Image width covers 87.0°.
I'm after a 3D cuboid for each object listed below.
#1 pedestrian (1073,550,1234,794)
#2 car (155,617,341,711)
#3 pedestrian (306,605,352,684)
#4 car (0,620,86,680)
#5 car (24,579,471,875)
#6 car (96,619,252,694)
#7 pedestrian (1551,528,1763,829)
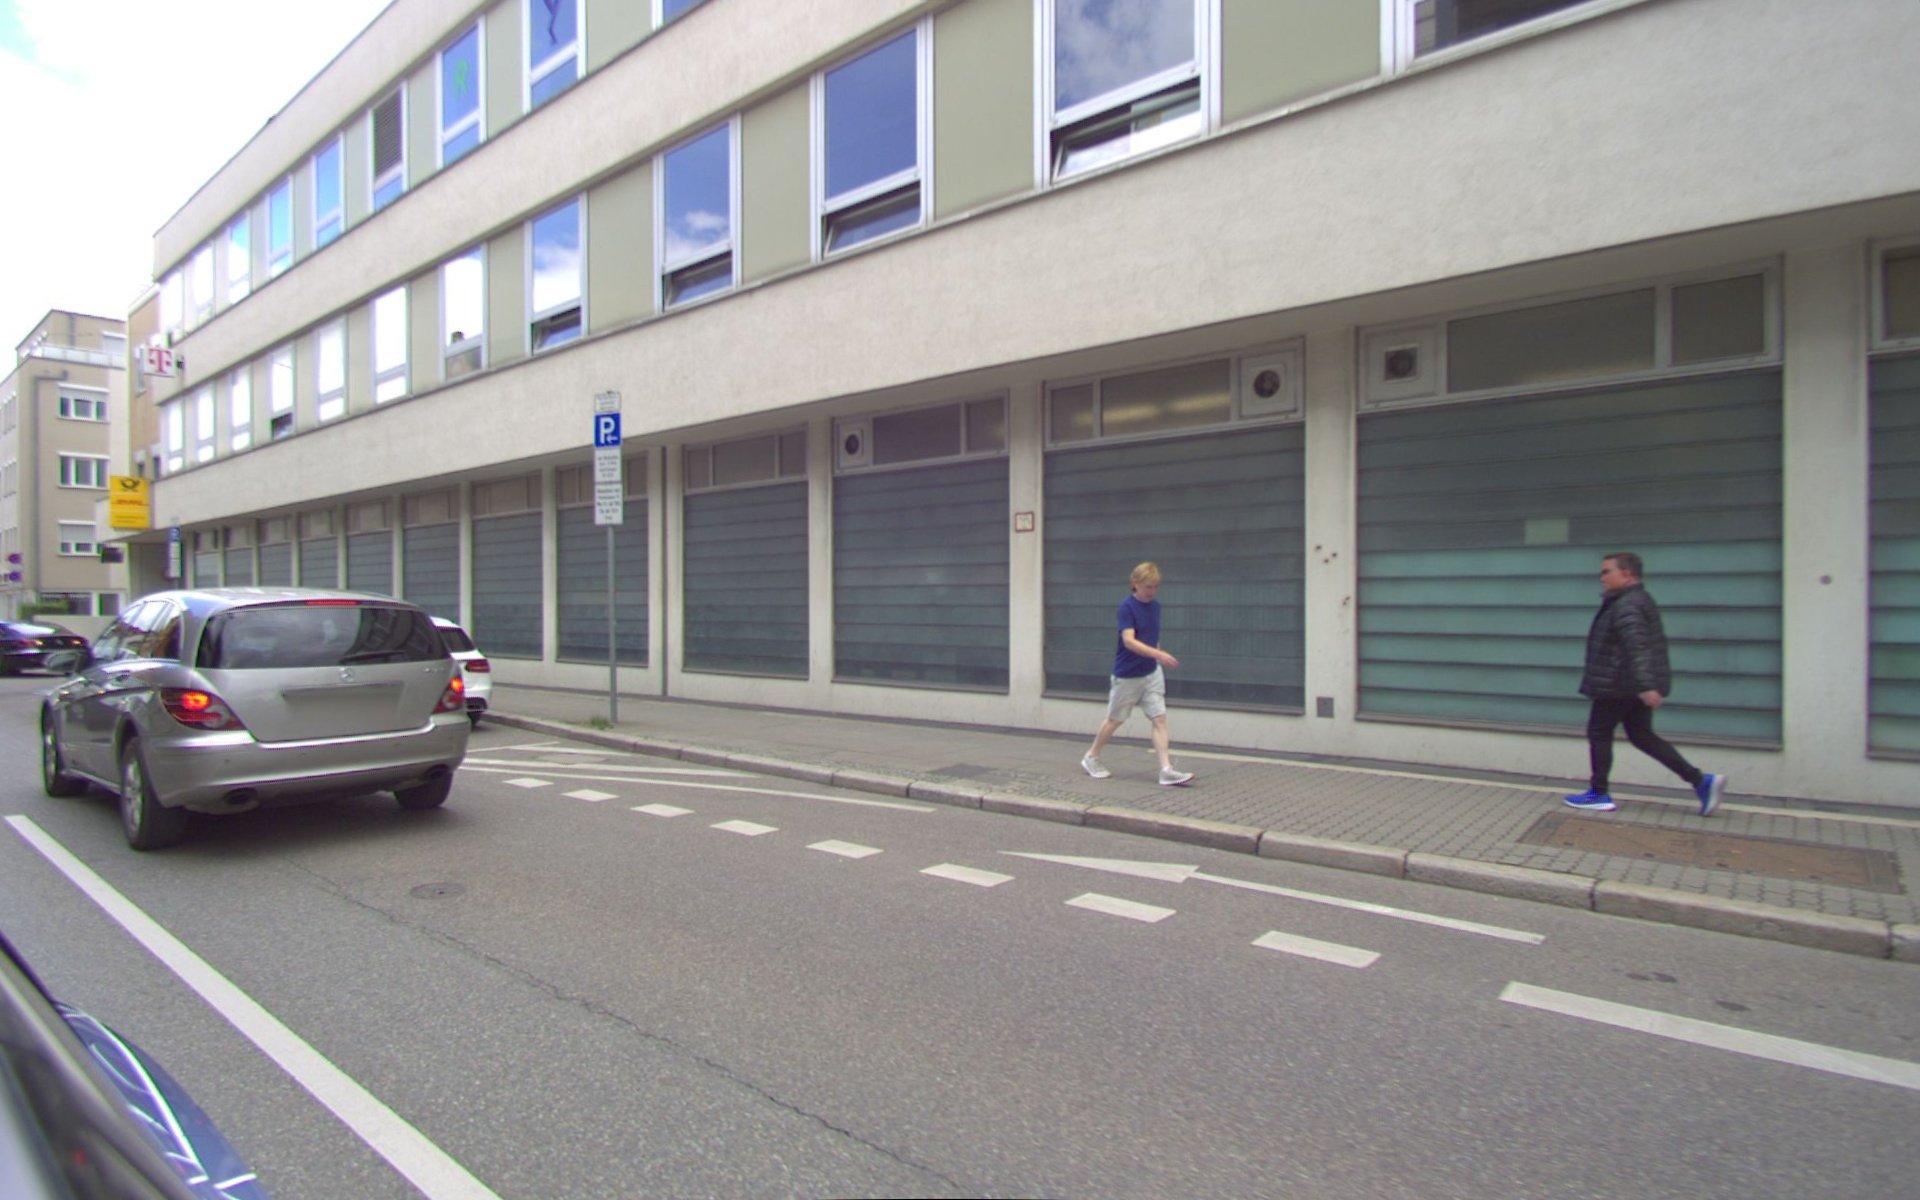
[{"bbox_3d":[1.471,0.517,7.751,1.054,1.731,0.583,-1,-1,38],"label":"pedestrian"},{"bbox_3d":[-12.442,1.036,17.583,4.264,1.437,1.795,-1,-2,43],"label":"car"},{"bbox_3d":[-13.881,0.969,22.272,0.642,1.731,0.589,-1,-1,9],"label":"pedestrian"},{"bbox_3d":[-24.507,1.229,25.830,4.427,1.409,1.644,-1,0,24],"label":"car"},{"bbox_3d":[-5.738,0.745,7.874,4.765,1.644,1.757,-1,-1,41],"label":"car"},{"bbox_3d":[-16.569,1.138,21.284,3.865,1.436,1.700,-1,-2,38],"label":"car"},{"bbox_3d":[4.441,0.447,6.459,1.030,1.731,0.853,-1,1,38],"label":"pedestrian"}]
